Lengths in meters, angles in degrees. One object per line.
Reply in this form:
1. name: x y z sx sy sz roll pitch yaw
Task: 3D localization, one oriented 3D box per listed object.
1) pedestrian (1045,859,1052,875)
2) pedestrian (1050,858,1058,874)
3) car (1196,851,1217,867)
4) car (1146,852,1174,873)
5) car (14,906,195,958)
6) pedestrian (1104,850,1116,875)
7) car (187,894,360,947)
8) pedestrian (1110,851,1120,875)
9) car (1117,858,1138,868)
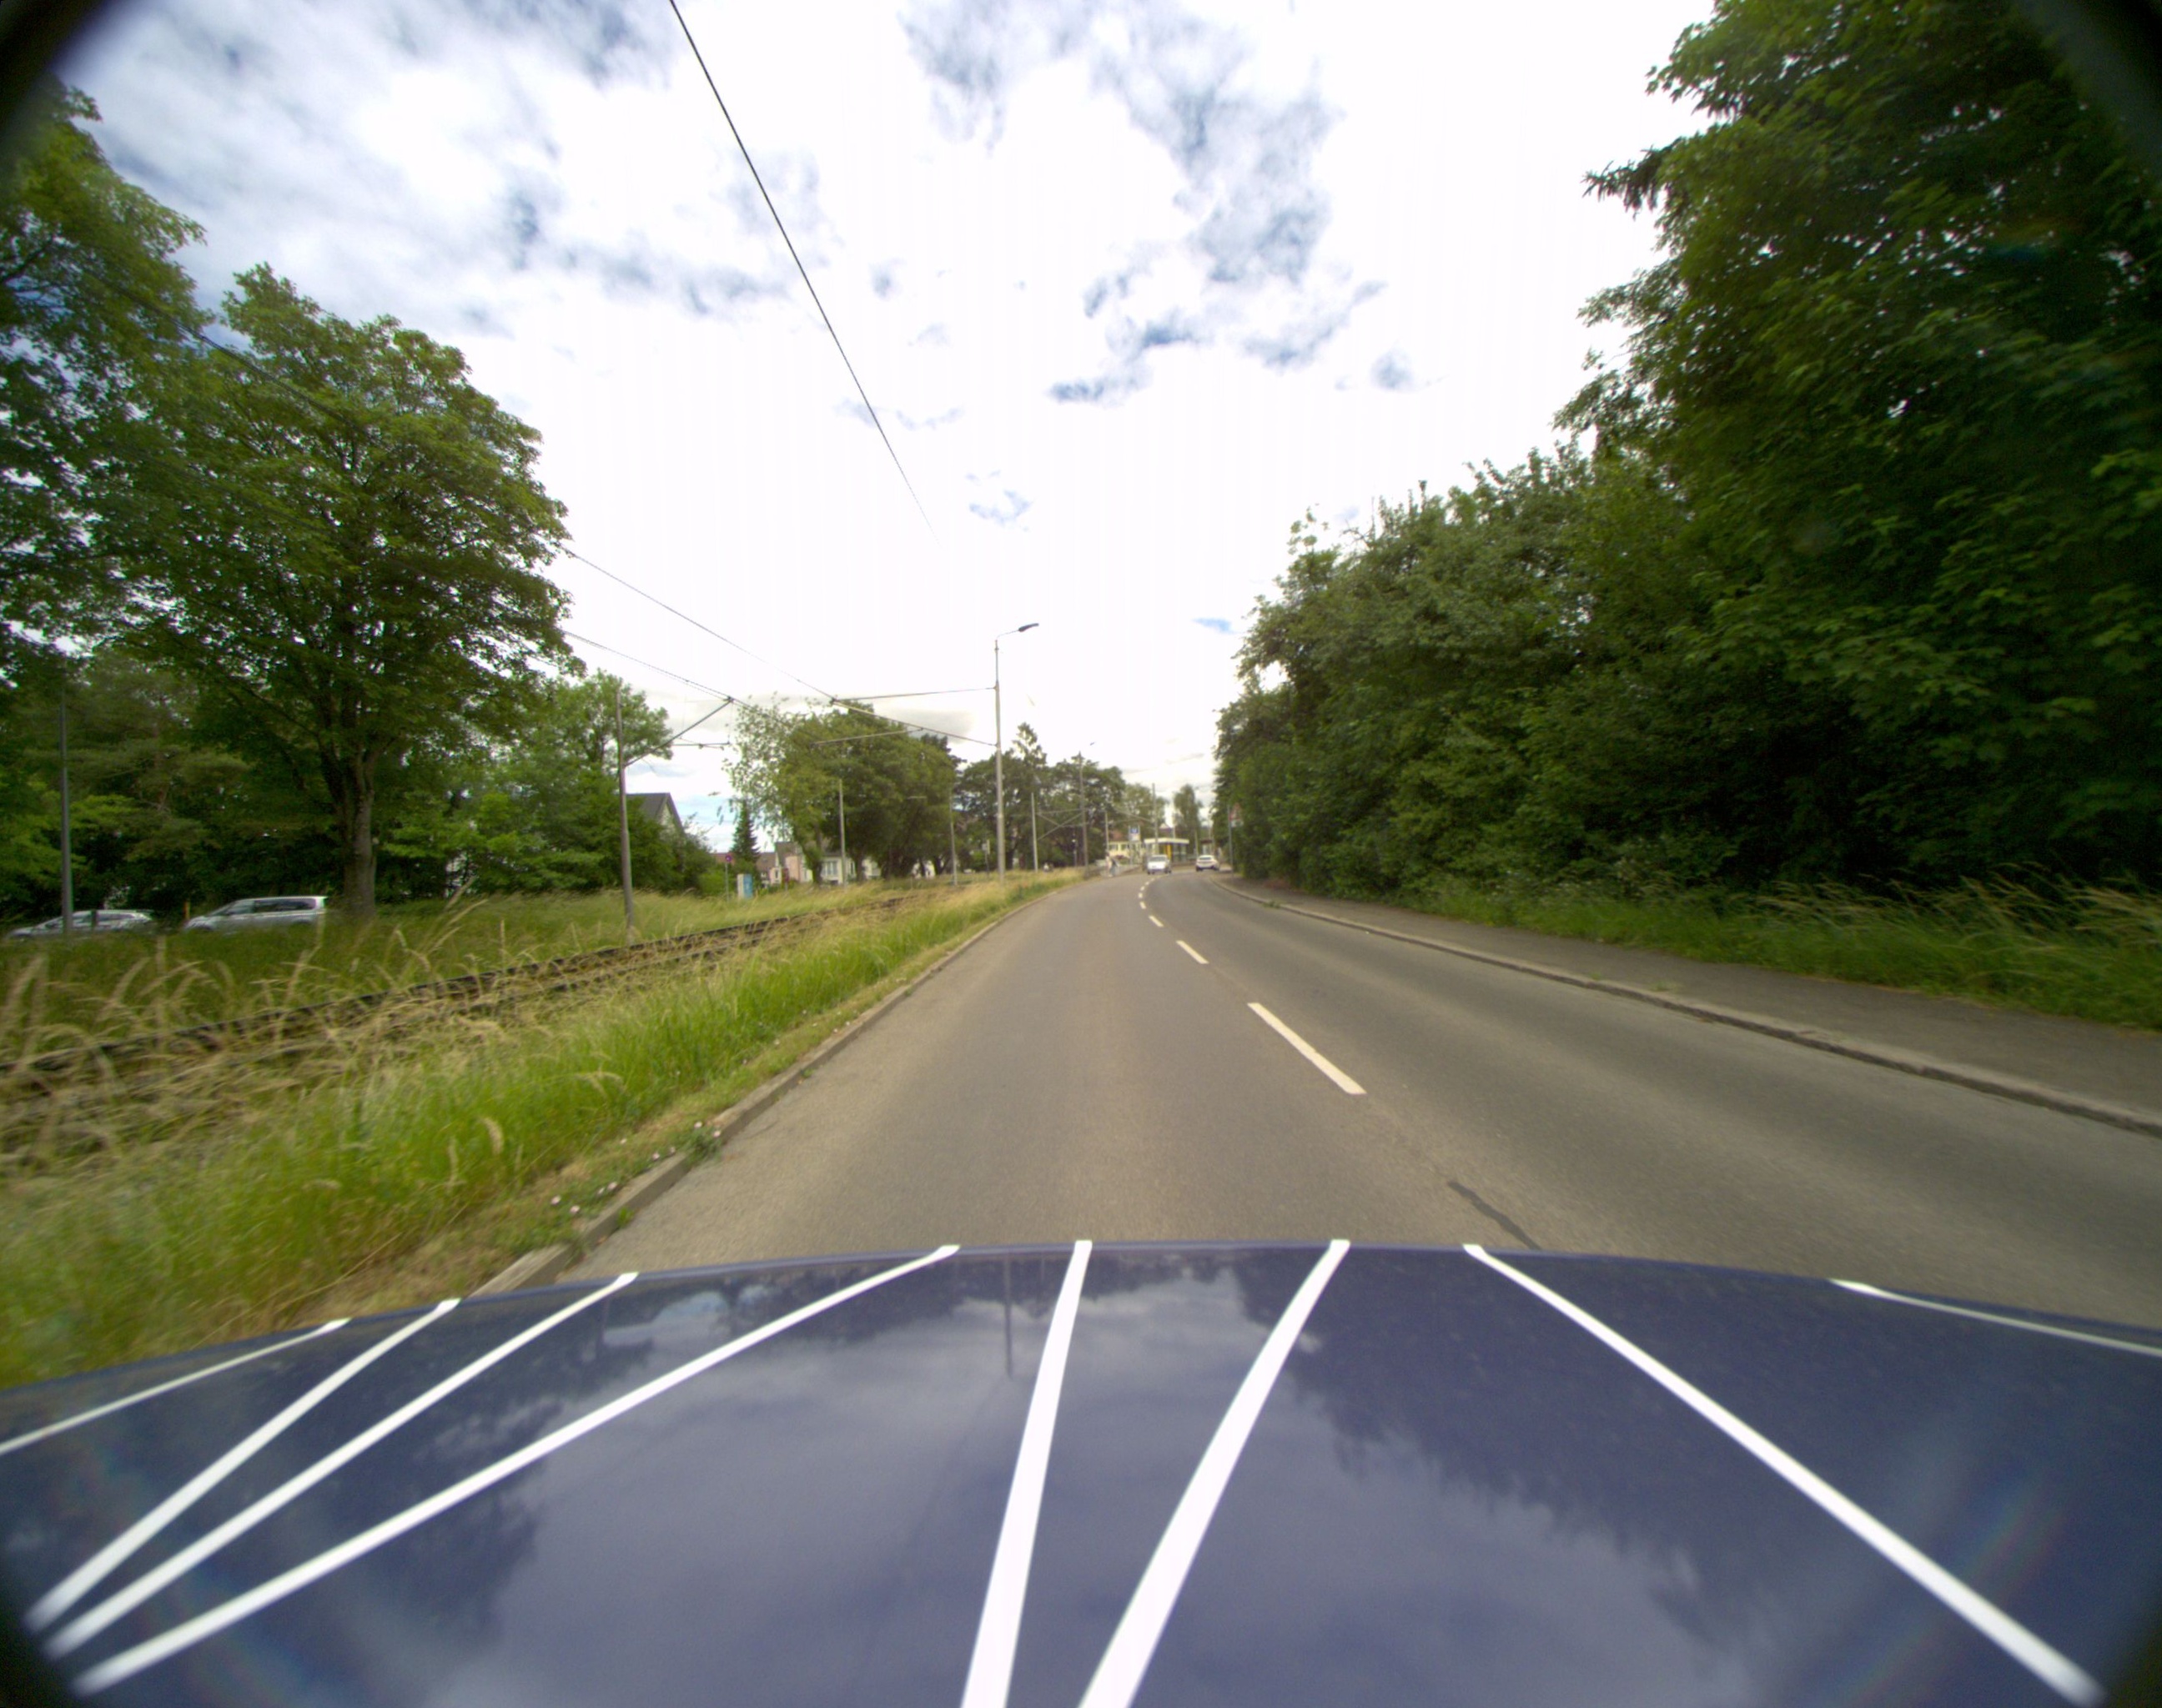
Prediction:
1. pedestrian: -3.449 1.372 80.082 0.493 1.552 0.693 -4 0 16
2. pedestrian: -2.815 1.292 79.910 0.493 1.612 0.791 -4 0 16
3. car: 12.050 0.462 72.804 1.933 1.513 4.662 -1 0 10
4. car: 6.759 0.684 64.429 1.732 1.638 4.230 -4 -1 13
5. car: -40.073 3.152 31.341 4.201 1.668 1.768 -3 0 -23
6. pedestrian: 2.191 0.641 56.834 0.660 1.830 0.596 -4 2 -10
7. car: -35.093 2.837 33.219 4.718 1.850 1.914 -3 0 -23
8. pedestrian: 2.611 0.675 58.023 0.475 1.719 0.799 -4 2 -11
9. car: 9.315 1.835 152.684 1.995 1.851 4.244 -4 -1 41
